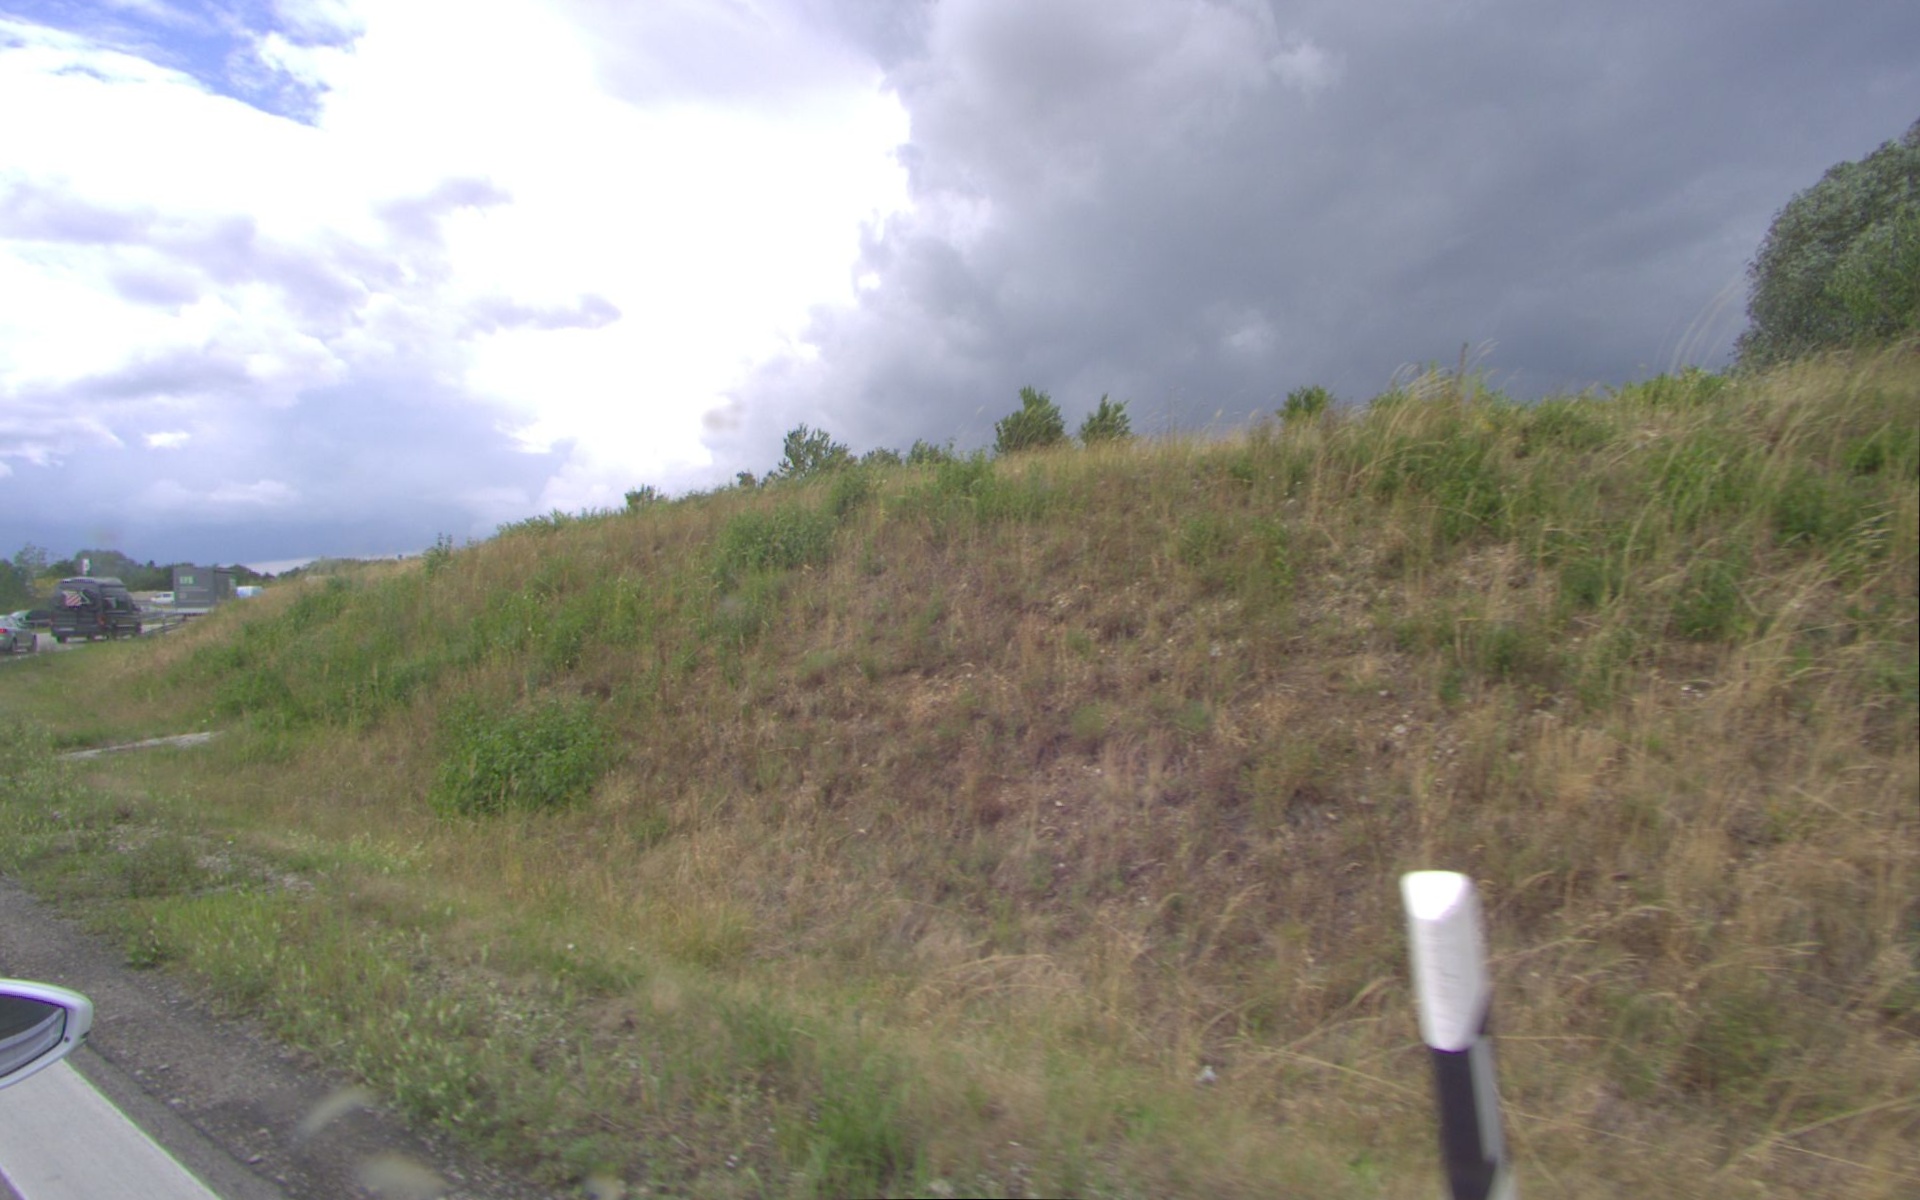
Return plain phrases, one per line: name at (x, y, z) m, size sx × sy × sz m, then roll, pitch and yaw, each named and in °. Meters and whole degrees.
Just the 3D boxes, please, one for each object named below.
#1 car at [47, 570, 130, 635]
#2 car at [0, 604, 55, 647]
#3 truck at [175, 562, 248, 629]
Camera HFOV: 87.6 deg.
car at (-39.777, 0.172, 45.791) m, size 2.082 × 2.832 × 3.980 m, roll 1°, pitch -2°, yaw -30°
car at (-35.068, 0.957, 36.703) m, size 1.844 × 1.529 × 3.983 m, roll 0°, pitch -1°, yaw -27°
truck at (-48.071, -0.215, 64.484) m, size 2.198 × 3.955 × 6.003 m, roll 0°, pitch -2°, yaw -21°
